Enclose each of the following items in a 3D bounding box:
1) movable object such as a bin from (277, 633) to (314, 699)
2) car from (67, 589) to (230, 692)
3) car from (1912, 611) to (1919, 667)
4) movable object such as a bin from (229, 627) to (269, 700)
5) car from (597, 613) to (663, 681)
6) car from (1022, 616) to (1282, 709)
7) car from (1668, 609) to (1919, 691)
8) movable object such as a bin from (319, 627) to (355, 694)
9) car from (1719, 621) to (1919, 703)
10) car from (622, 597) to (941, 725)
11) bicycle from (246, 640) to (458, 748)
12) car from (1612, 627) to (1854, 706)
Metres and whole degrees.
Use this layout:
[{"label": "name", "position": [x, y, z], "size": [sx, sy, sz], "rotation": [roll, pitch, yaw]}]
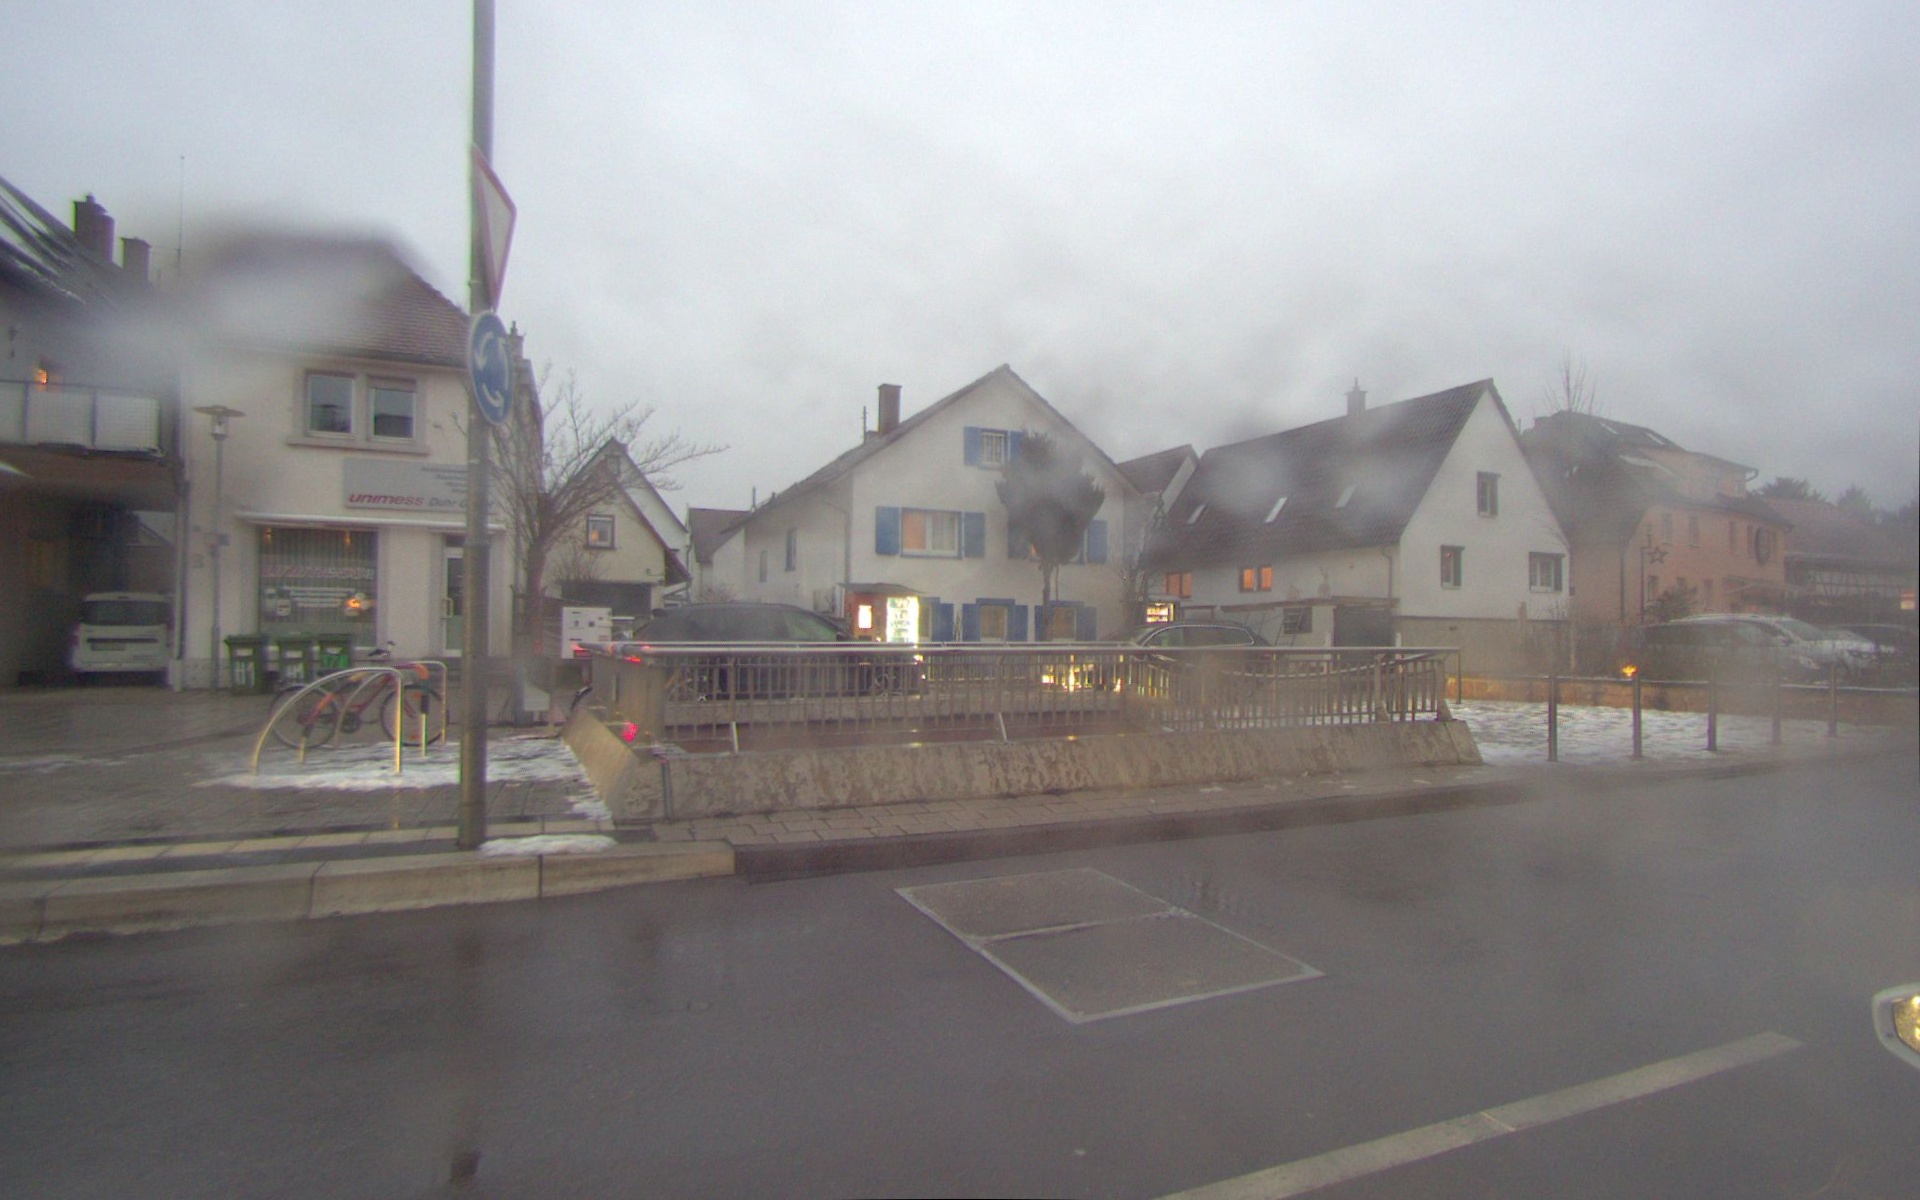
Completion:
[{"label": "movable object such as a bin", "position": [-11.699, 1.159, 17.697], "size": [0.447, 1.135, 0.286], "rotation": [3, -1, -25]}, {"label": "car", "position": [-16.187, 0.798, 20.233], "size": [1.491, 1.877, 3.411], "rotation": [2, -2, -21]}, {"label": "car", "position": [31.178, 1.215, 29.323], "size": [1.978, 1.689, 4.601], "rotation": [2, -1, -32]}, {"label": "movable object such as a bin", "position": [-12.316, 1.096, 17.406], "size": [0.447, 1.225, 0.286], "rotation": [3, -1, -25]}, {"label": "car", "position": [-10.652, 1.534, 32.305], "size": [1.810, 2.045, 3.566], "rotation": [0, -3, -21]}, {"label": "car", "position": [3.513, 1.080, 18.259], "size": [4.514, 1.502, 1.796], "rotation": [0, -3, -28]}, {"label": "car", "position": [17.336, 0.991, 21.056], "size": [1.690, 1.543, 3.785], "rotation": [2, -1, -23]}, {"label": "movable object such as a bin", "position": [-11.127, 1.078, 17.937], "size": [0.447, 1.157, 0.286], "rotation": [3, -1, -25]}, {"label": "car", "position": [19.565, 1.317, 22.291], "size": [1.566, 1.629, 4.080], "rotation": [2, -1, -26]}, {"label": "car", "position": [-2.691, 0.887, 15.246], "size": [4.501, 1.723, 1.751], "rotation": [0, -3, -24]}, {"label": "bicycle", "position": [-6.007, 0.917, 10.001], "size": [1.709, 1.023, 0.470], "rotation": [1, -1, -14]}, {"label": "car", "position": [14.966, 1.227, 19.618], "size": [1.582, 1.390, 3.428], "rotation": [1, -2, -30]}]
